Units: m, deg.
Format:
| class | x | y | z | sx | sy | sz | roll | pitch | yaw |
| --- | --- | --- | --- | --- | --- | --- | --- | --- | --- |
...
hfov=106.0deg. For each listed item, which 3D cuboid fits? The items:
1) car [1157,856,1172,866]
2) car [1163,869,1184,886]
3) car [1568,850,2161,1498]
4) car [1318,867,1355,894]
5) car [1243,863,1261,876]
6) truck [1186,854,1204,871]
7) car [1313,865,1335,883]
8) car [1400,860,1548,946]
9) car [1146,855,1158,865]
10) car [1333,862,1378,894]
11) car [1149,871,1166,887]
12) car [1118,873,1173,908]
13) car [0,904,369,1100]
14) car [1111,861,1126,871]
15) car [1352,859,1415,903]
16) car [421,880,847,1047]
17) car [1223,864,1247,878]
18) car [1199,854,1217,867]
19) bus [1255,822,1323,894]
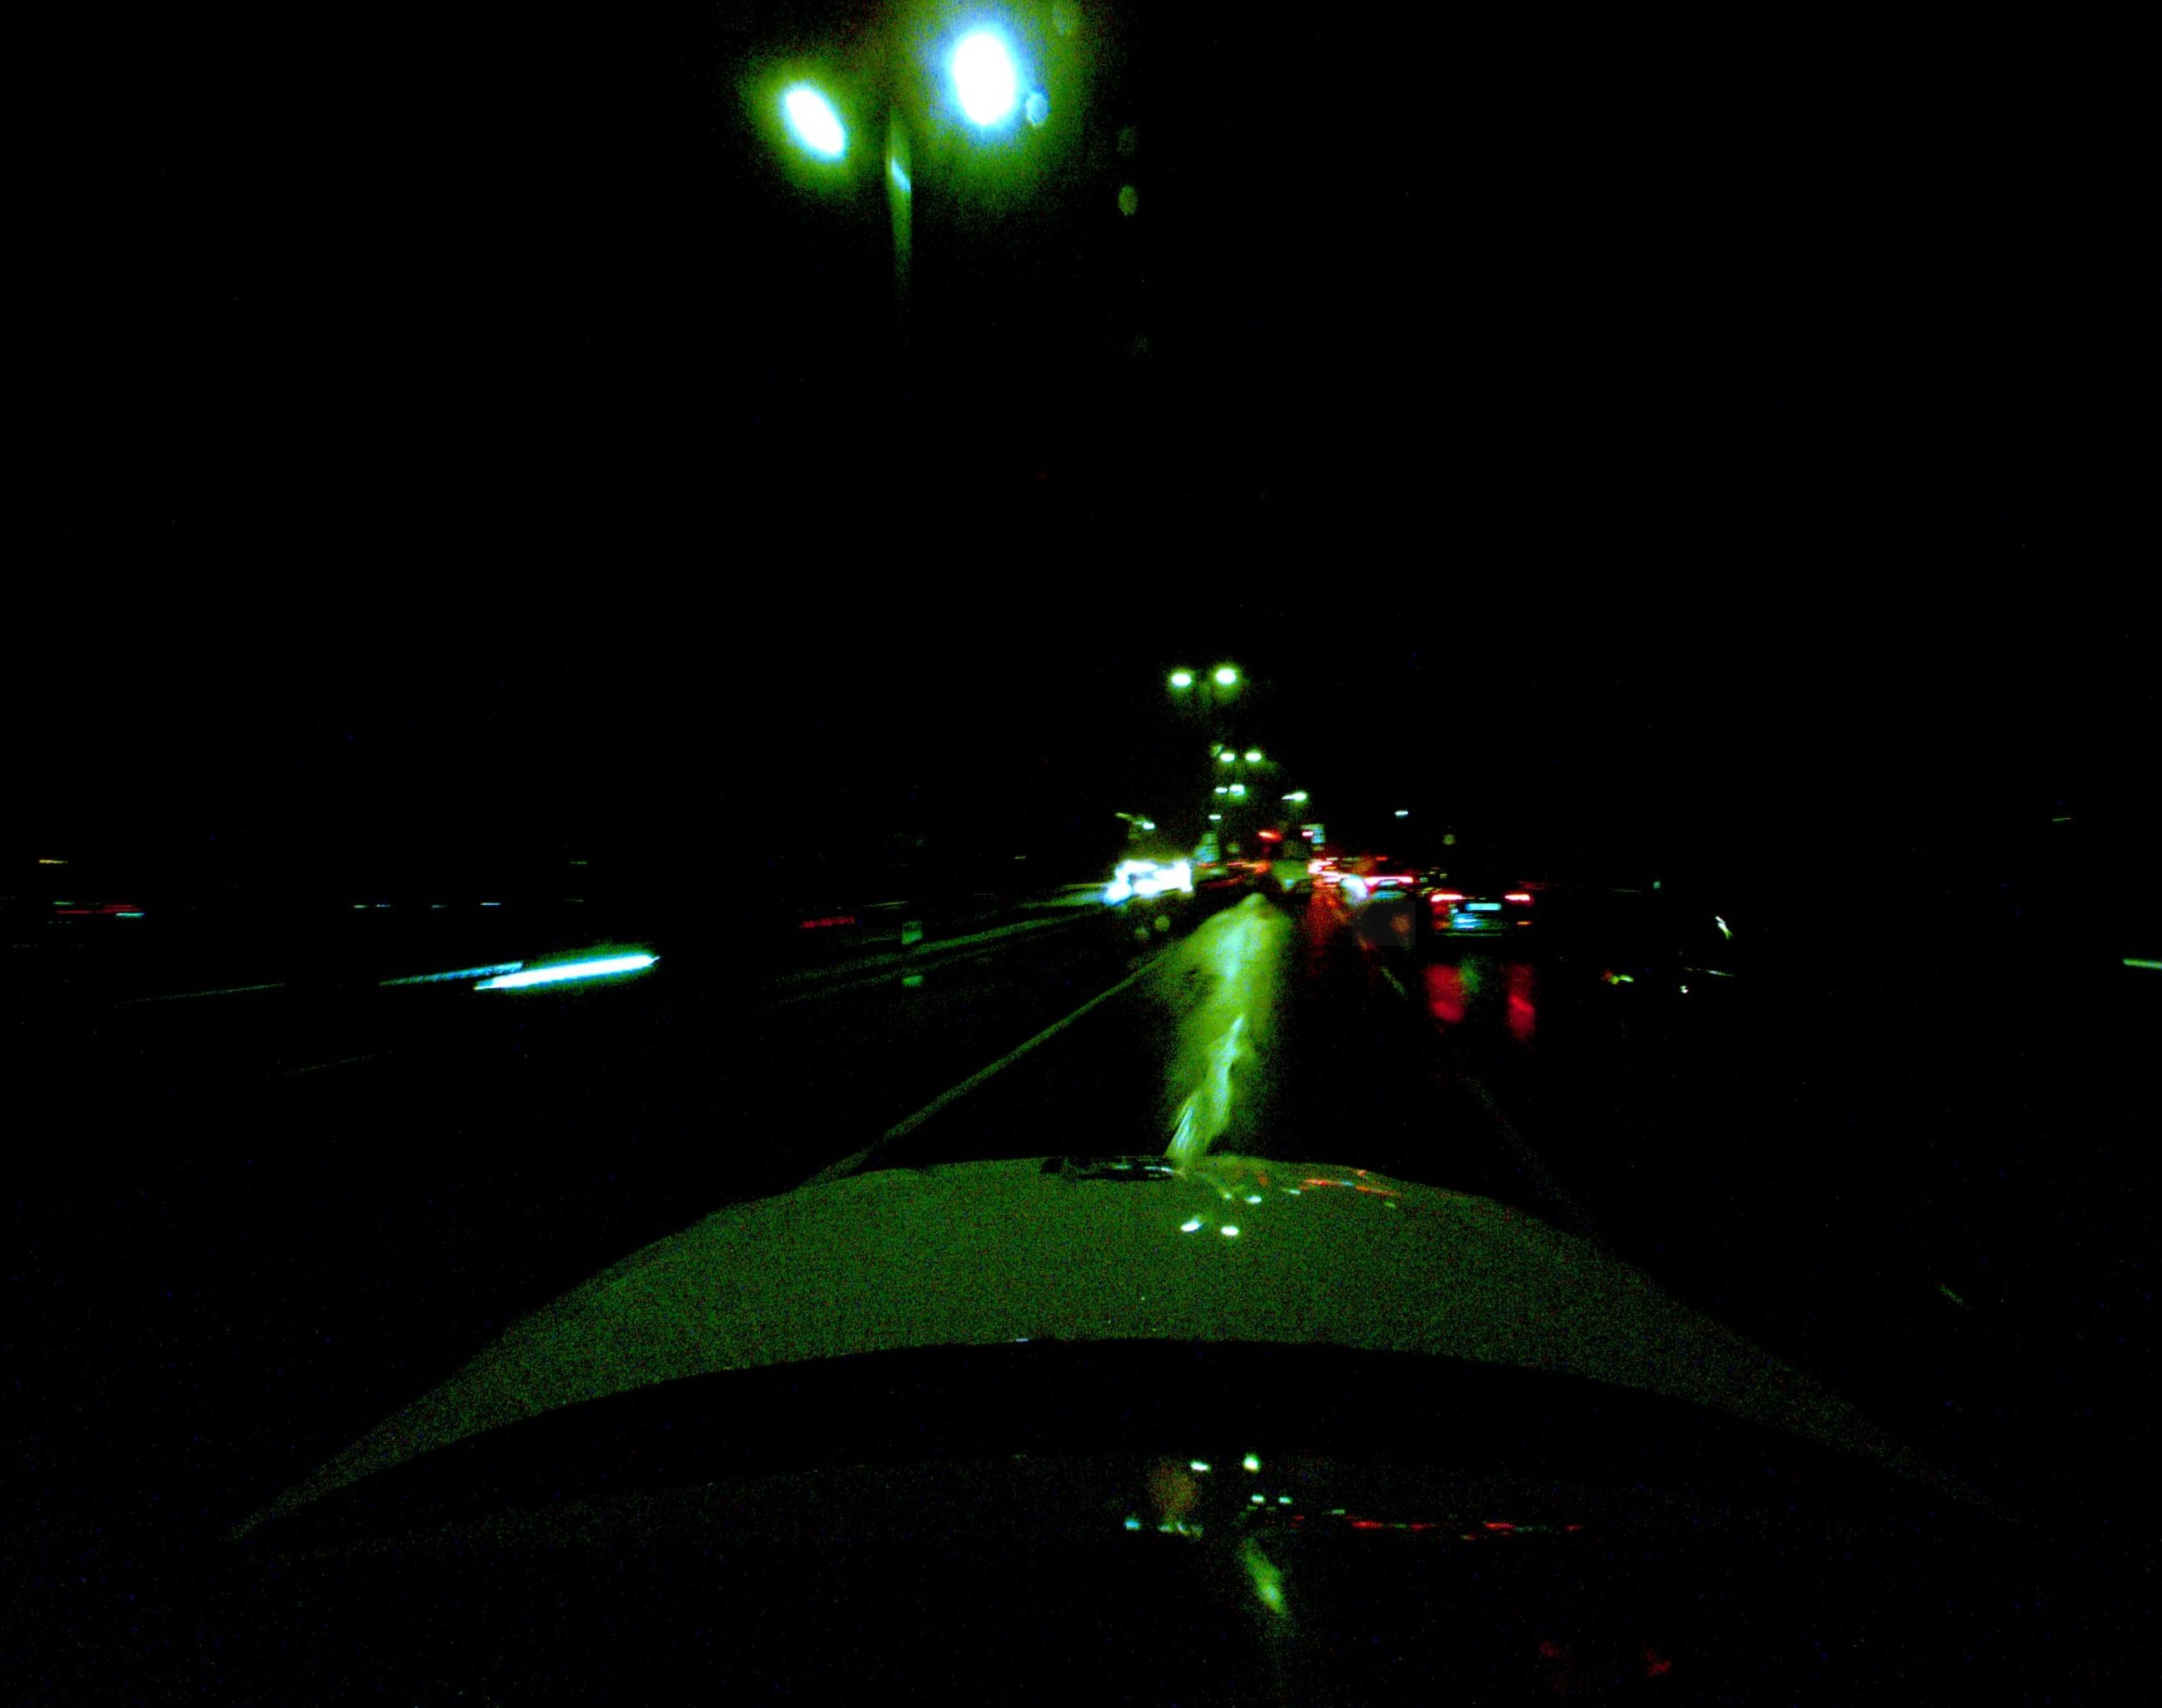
| class | x | y | z | sx | sy | sz | roll | pitch | yaw |
| --- | --- | --- | --- | --- | --- | --- | --- | --- | --- |
| car | 15.217 | 1.223 | 148.527 | 1.992 | 1.686 | 3.990 | 1 | 1 | -7 |
| car | 9.756 | 2.460 | 85.592 | 1.609 | 1.651 | 4.014 | -3 | -2 | 13 |
| car | 3.908 | 0.742 | 3.630 | 1.808 | 1.484 | 4.586 | -1 | -1 | 16 |
| car | 16.173 | 1.643 | 51.694 | 1.807 | 1.590 | 3.789 | -2 | -1 | 12 |
| car | 22.984 | 2.066 | 109.439 | 1.745 | 1.631 | 3.622 | 0 | -1 | 0 |
| truck | 18.135 | 1.326 | 129.799 | 1.852 | 2.393 | 4.772 | -3 | 2 | -4 |
| car | 22.077 | 1.807 | 74.109 | 1.767 | 1.543 | 3.889 | -1 | -1 | 13 |
| car | 7.648 | 0.866 | 16.314 | 1.719 | 1.449 | 4.742 | -1 | -1 | 14 |
| car | 14.321 | 1.272 | 164.170 | 2.113 | 2.014 | 4.002 | 0 | -1 | 2 |
| car | 14.640 | 1.240 | 43.591 | 1.807 | 1.590 | 3.789 | -2 | -1 | 12 |
| car | 9.805 | 3.153 | 104.329 | 1.982 | 2.014 | 4.010 | 0 | -1 | 9 |
| car | 3.259 | 1.765 | 40.224 | 1.842 | 1.476 | 4.797 | -2 | -1 | 15 |
| car | -9.025 | 1.267 | 6.960 | 1.598 | 1.382 | 4.181 | -4 | -1 | 16 |
| car | 7.749 | 2.440 | 167.251 | 1.997 | 2.014 | 3.978 | 0 | -1 | -16 |
| car | 11.440 | 0.996 | 31.007 | 1.727 | 1.565 | 3.789 | -1 | -1 | 12 |
| car | -4.835 | 1.074 | 9.796 | 1.598 | 1.382 | 4.765 | -1 | -1 | 15 |
| car | 22.580 | 2.534 | 119.562 | 2.210 | 2.014 | 3.987 | -2 | -1 | -9 |
| car | 20.912 | 1.117 | 133.919 | 1.991 | 2.014 | 3.991 | 0 | -1 | -6 |
| bus | 9.964 | 0.228 | 39.219 | 2.795 | 3.024 | 8.719 | -1 | -1 | 14 |
